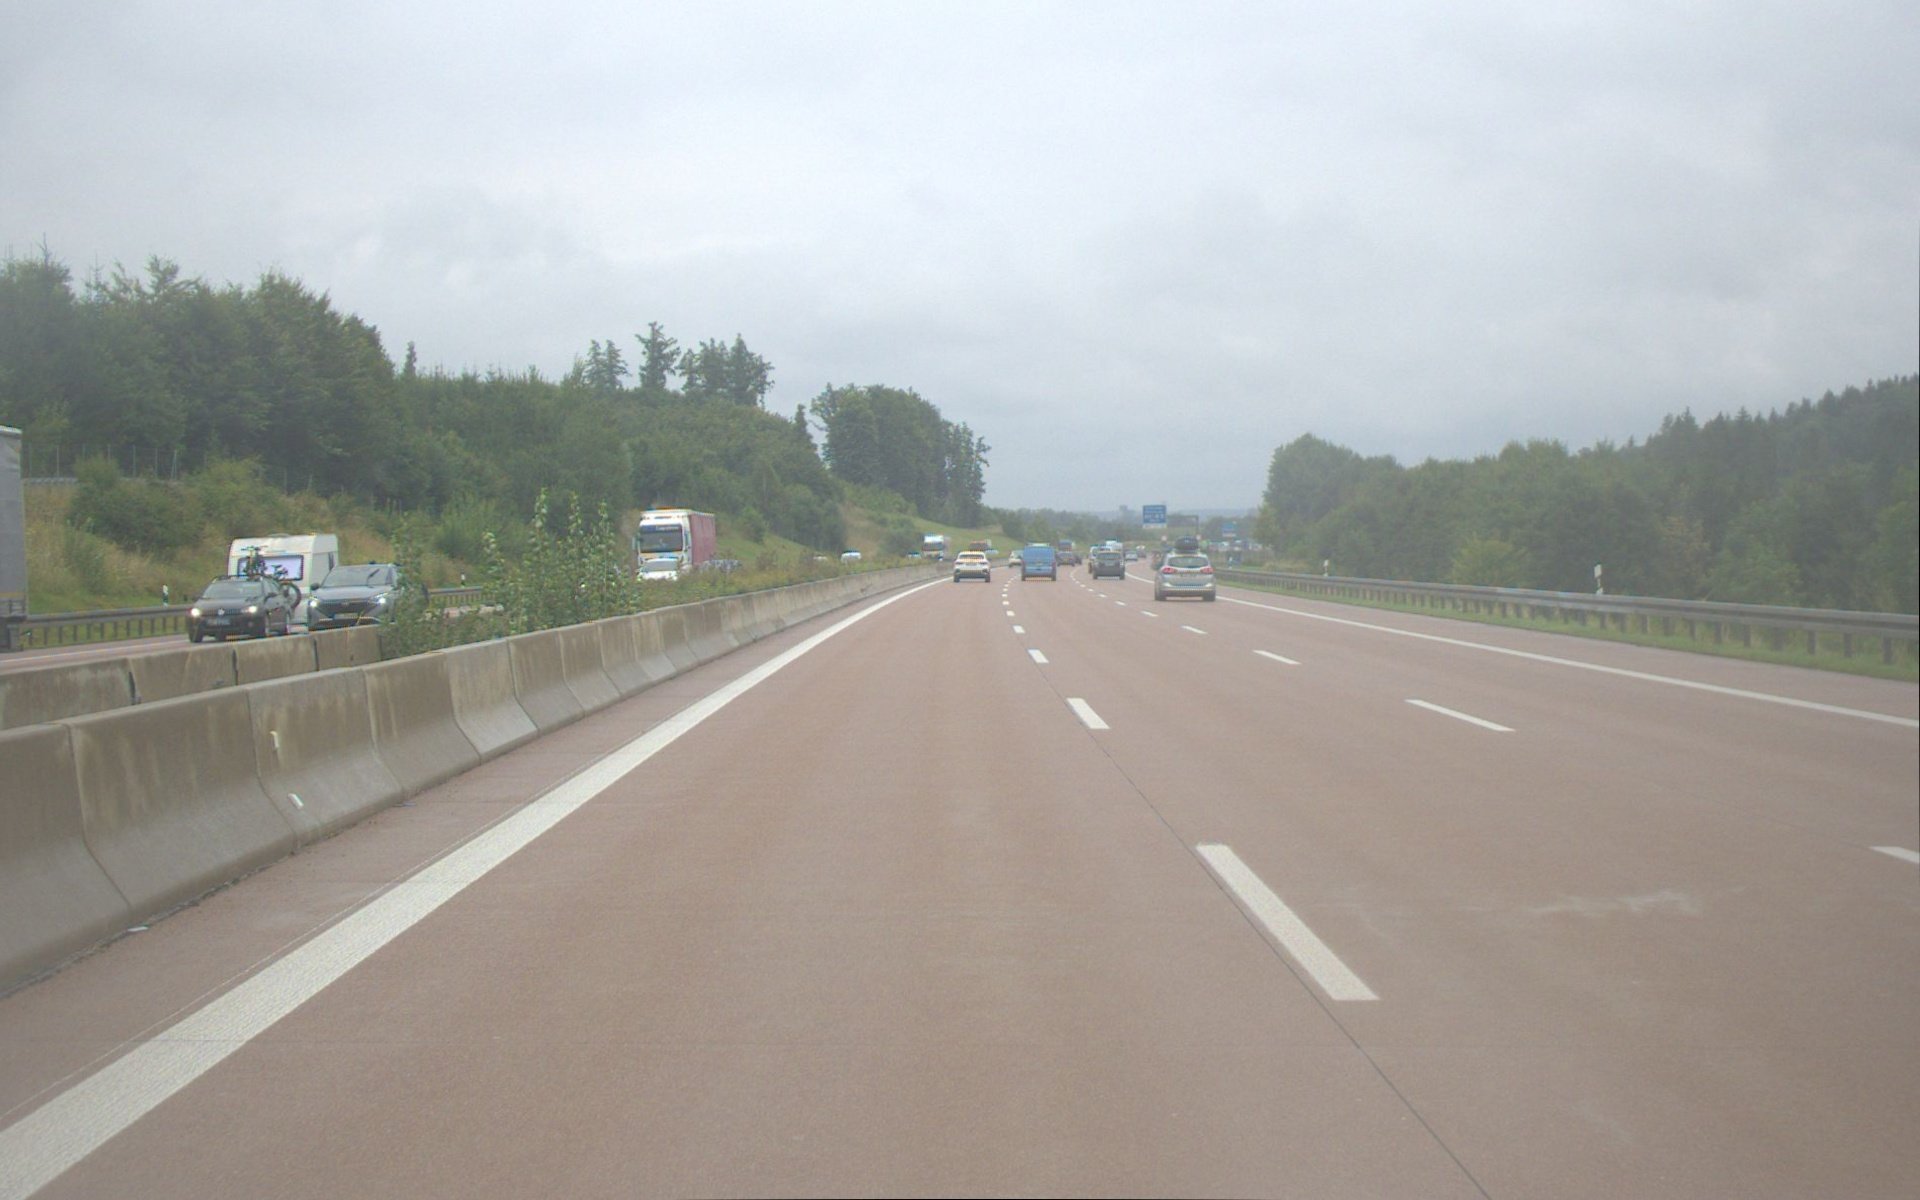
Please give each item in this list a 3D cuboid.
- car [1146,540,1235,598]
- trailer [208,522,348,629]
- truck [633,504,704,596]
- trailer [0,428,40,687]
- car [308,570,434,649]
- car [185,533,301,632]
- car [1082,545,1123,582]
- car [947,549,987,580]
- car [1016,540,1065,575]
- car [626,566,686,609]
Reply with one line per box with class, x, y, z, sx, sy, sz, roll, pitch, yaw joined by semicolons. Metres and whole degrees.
car;7.379;-0.972;110.472;2.322;1.744;4.877;1;0;-2
trailer;-16.625;-0.637;84.067;2.277;2.403;5.438;-3;1;0
truck;-14.734;-2.497;174.190;2.950;4.462;6.792;1;0;0
trailer;-16.613;-0.648;50.497;2.739;4.126;12.755;-2;0;0
car;-12.556;0.170;73.635;1.692;1.552;5.677;-2;1;0
car;-16.473;-0.438;79.139;1.758;2.145;4.429;-2;1;-1
car;8.129;-2.061;196.207;1.993;2.007;4.000;1;0;-2
car;0.340;-1.797;174.468;1.874;1.439;4.877;1;0;-2
car;4.319;-2.259;184.664;2.322;1.744;4.877;1;0;-2
car;-12.128;-0.494;137.513;1.865;1.660;4.708;1;0;1
